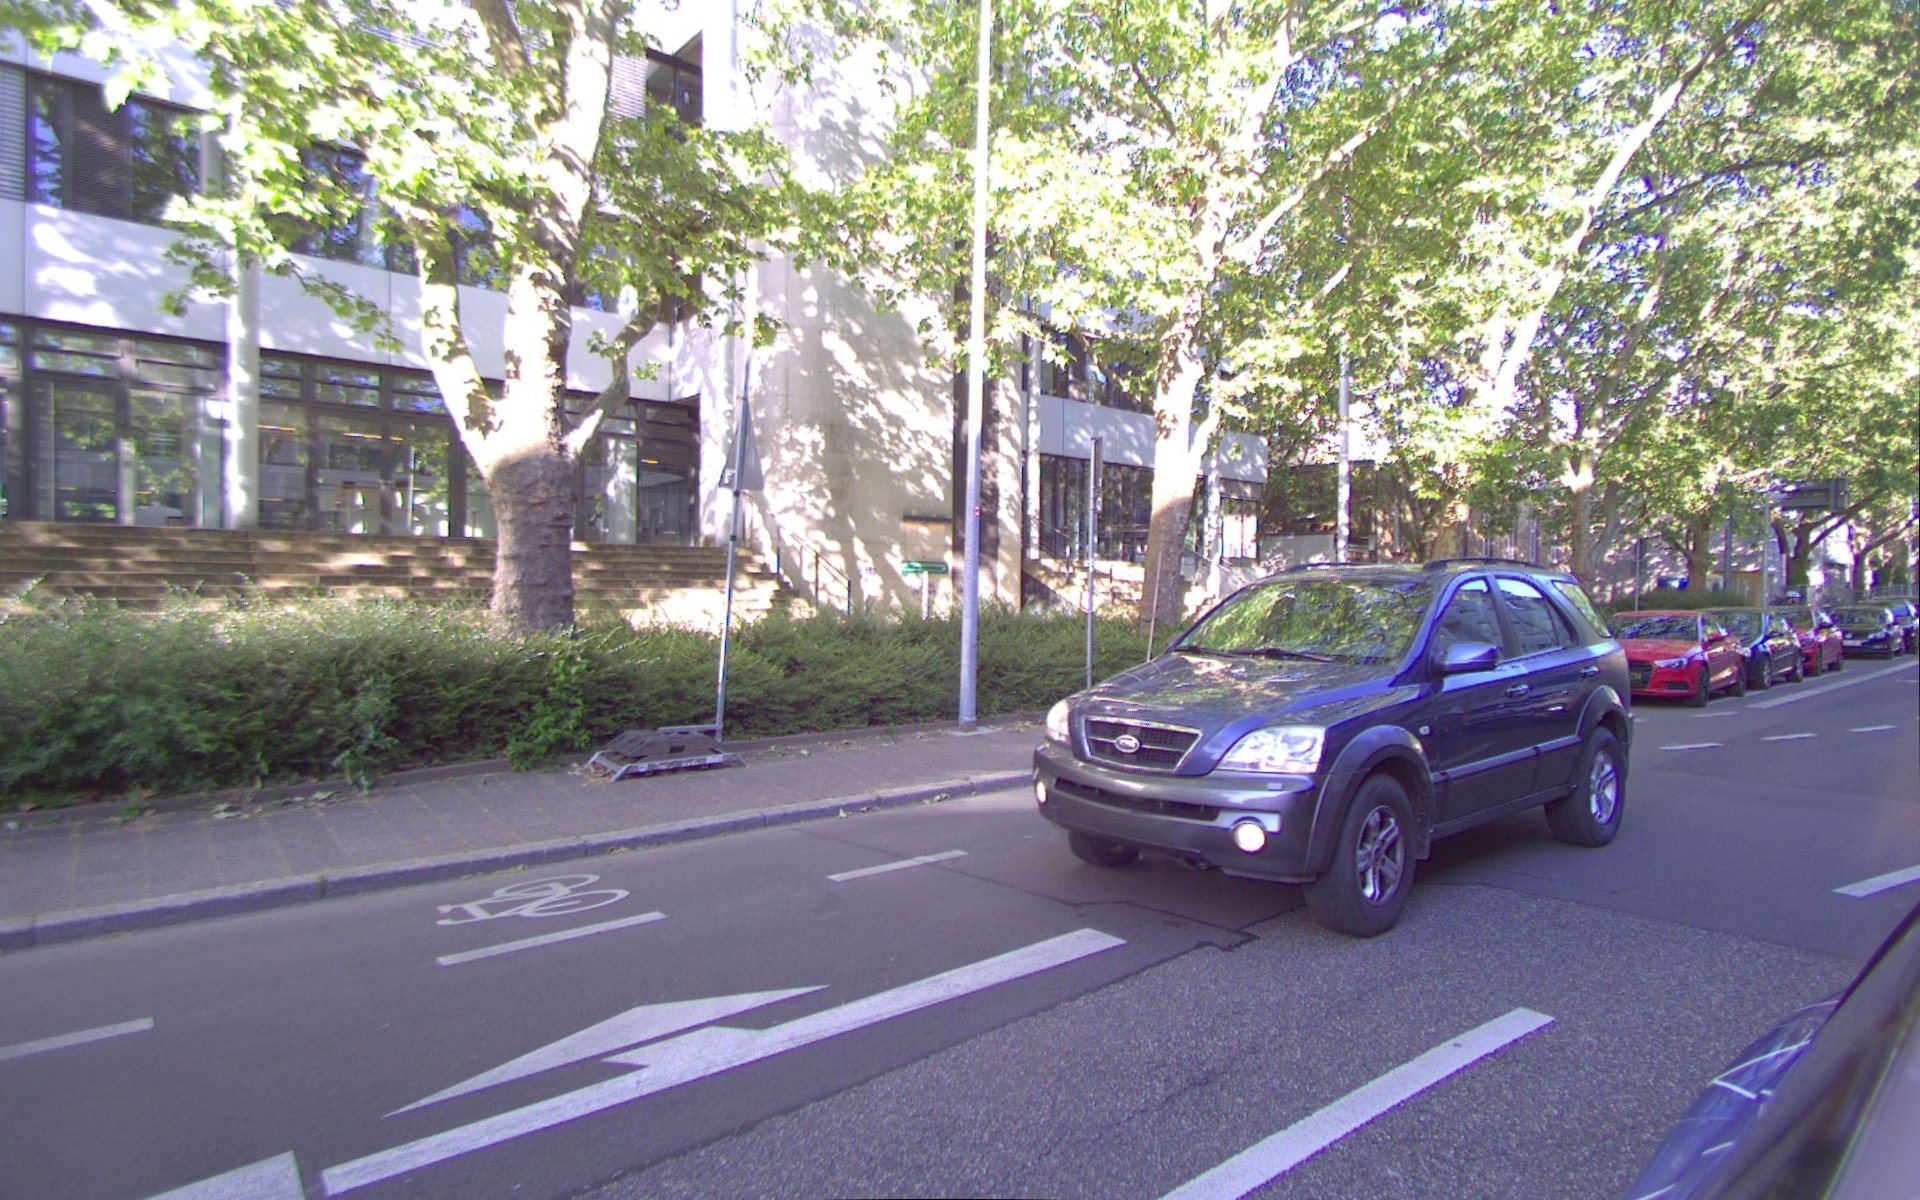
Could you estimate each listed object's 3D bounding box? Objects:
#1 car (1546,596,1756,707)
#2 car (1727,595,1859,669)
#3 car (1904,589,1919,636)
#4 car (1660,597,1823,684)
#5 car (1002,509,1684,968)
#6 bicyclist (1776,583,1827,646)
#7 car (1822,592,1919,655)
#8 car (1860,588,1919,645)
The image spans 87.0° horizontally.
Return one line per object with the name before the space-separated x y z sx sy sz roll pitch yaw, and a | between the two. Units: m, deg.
car | 11.121 0.737 16.187 4.071 1.548 1.827 0 -1 -42
car | 18.626 0.667 22.578 3.851 1.511 1.679 0 -1 -42
car | 38.733 0.491 40.007 3.829 1.818 1.739 0 1 -42
car | 14.933 0.708 19.275 4.022 1.472 1.739 0 -1 -42
car | 2.472 0.542 6.000 4.304 1.793 1.785 0 -1 -38
bicyclist | 22.422 0.382 26.983 1.032 1.640 0.688 0 0 39
car | 26.007 0.606 28.794 4.022 1.653 1.739 0 1 -42
car | 29.719 0.484 31.860 3.840 1.708 1.633 0 1 -42
